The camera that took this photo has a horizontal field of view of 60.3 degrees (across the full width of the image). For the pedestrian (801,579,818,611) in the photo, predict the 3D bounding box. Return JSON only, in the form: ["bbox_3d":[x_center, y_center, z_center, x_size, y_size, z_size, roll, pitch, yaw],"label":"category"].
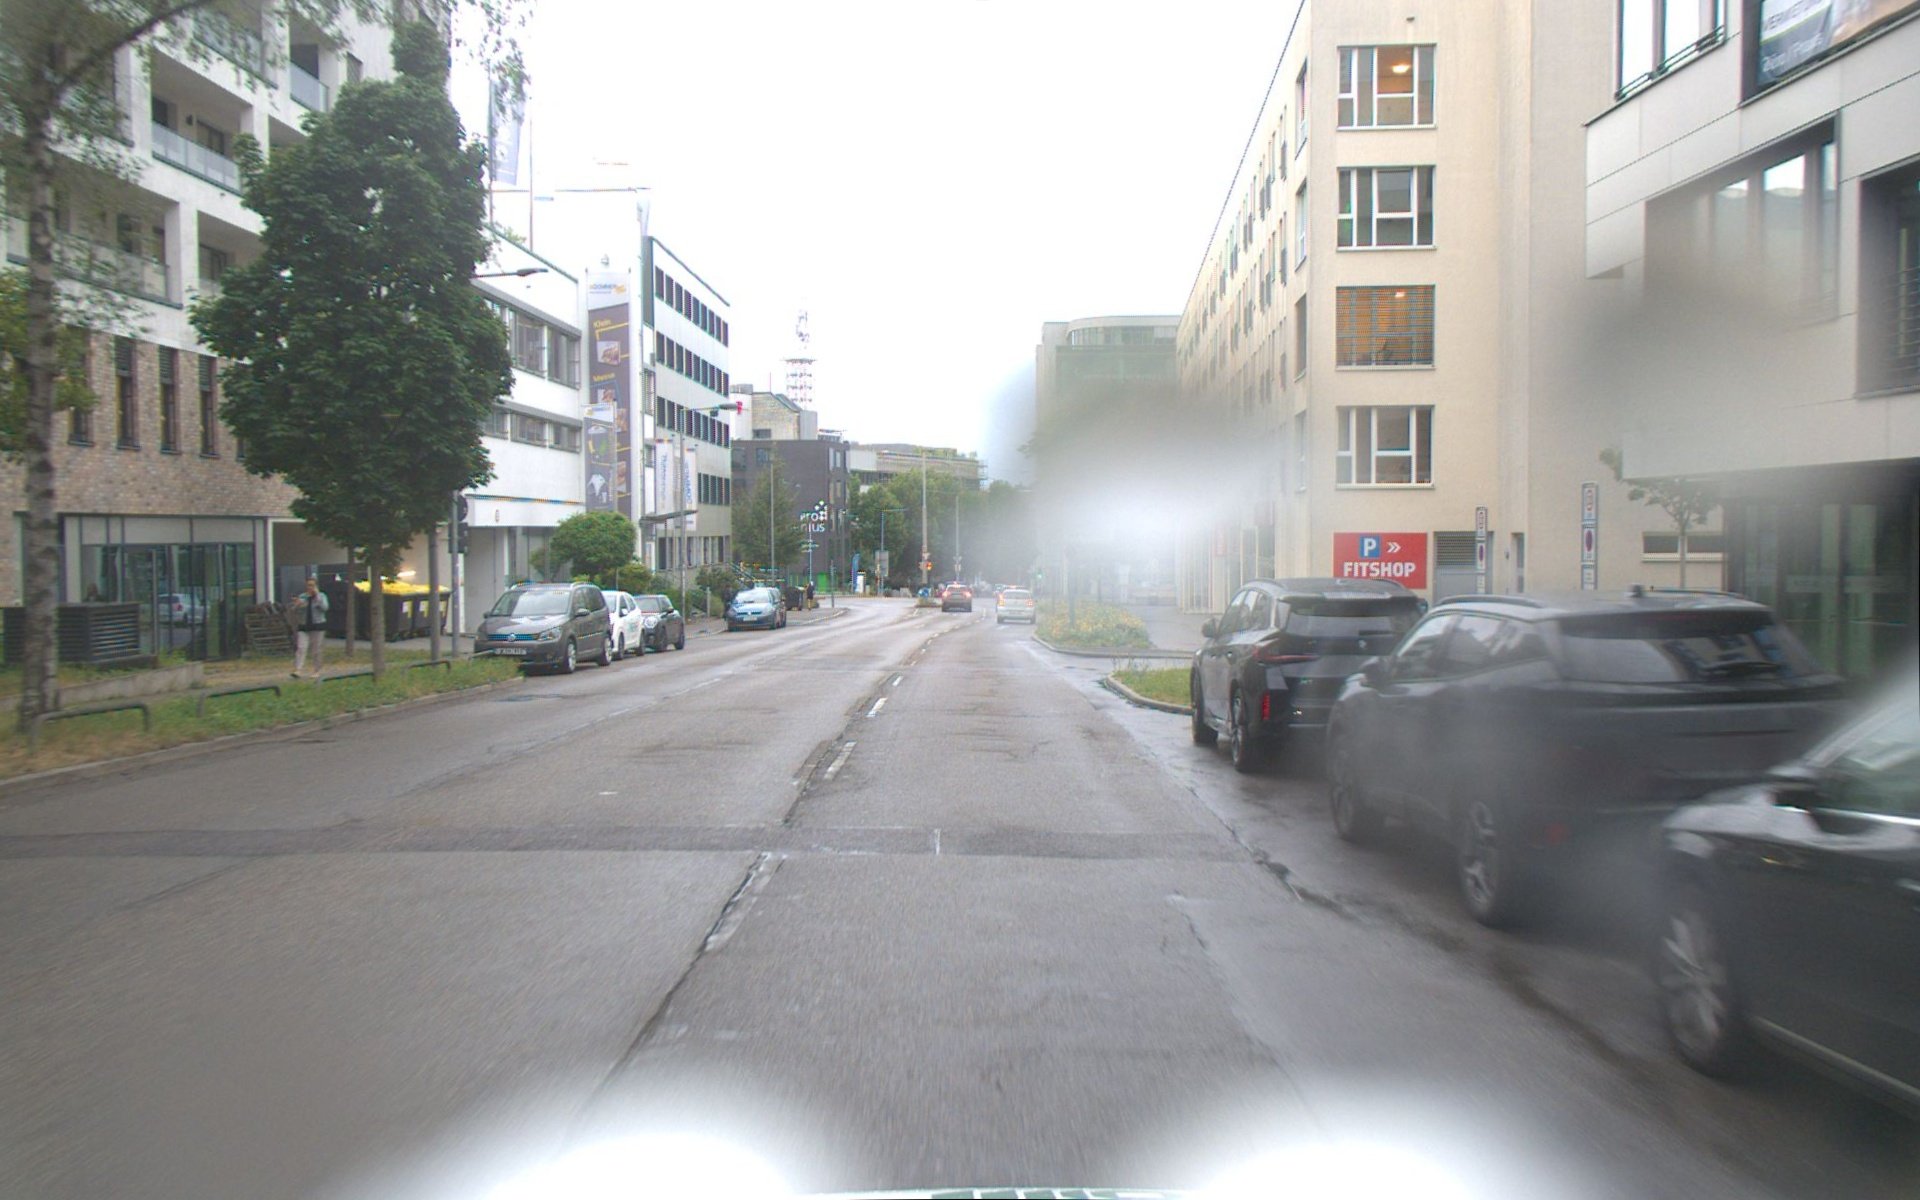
[{"bbox_3d":[-9.410,-0.334,103.498,0.942,1.989,0.776,0,-1,-12],"label":"pedestrian"}]

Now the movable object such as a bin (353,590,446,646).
[{"bbox_3d":[-14.821,0.471,43.794,2.013,1.448,1.316,1,0,-3],"label":"movable object such as a bin"}]

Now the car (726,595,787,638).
[{"bbox_3d":[-7.506,0.615,61.319,1.875,1.507,4.354,0,-1,-2],"label":"car"}]

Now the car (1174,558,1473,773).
[{"bbox_3d":[3.209,0.498,15.585,1.770,1.708,4.712,0,1,0],"label":"car"}]

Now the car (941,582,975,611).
[{"bbox_3d":[-0.098,-0.188,102.658,2.097,1.758,4.000,0,-1,0],"label":"car"}]

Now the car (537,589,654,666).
[{"bbox_3d":[-8.083,0.568,36.987,1.737,1.628,4.031,0,0,0],"label":"car"}]

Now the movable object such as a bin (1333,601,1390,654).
[{"bbox_3d":[10.402,0.719,42.918,1.209,1.343,1.192,-1,-1,2],"label":"movable object such as a bin"}]

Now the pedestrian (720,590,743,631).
[{"bbox_3d":[-9.720,0.455,70.214,0.719,1.738,0.896,0,-2,-27],"label":"pedestrian"}]

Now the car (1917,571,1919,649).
[{"bbox_3d":[19.244,0.156,28.887,3.904,1.644,1.895,3,0,3],"label":"car"}]

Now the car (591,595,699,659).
[{"bbox_3d":[-7.877,0.676,41.716,1.759,1.543,4.246,0,-1,2],"label":"car"}]

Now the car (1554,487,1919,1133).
[{"bbox_3d":[3.252,0.521,4.166,1.770,1.591,4.846,0,-1,0],"label":"car"}]

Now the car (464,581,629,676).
[{"bbox_3d":[-7.811,0.499,31.737,2.035,1.637,4.684,-1,0,-1],"label":"car"}]

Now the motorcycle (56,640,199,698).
[{"bbox_3d":[-12.434,1.016,24.705,1.961,0.822,0.718,0,0,18],"label":"motorcycle"}]

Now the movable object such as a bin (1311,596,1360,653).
[{"bbox_3d":[10.268,0.657,45.238,1.149,1.529,1.014,0,0,3],"label":"movable object such as a bin"}]

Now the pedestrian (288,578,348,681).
[{"bbox_3d":[-10.866,0.491,28.012,0.694,1.712,0.956,0,0,-4],"label":"pedestrian"}]

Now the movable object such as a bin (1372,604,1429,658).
[{"bbox_3d":[11.682,0.811,43.892,1.234,1.427,1.112,0,0,2],"label":"movable object such as a bin"}]

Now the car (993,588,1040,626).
[{"bbox_3d":[2.449,0.292,72.504,1.952,1.604,3.996,0,0,0],"label":"car"}]

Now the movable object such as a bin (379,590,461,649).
[{"bbox_3d":[-14.755,0.520,45.287,1.760,1.536,1.481,-2,0,-3],"label":"movable object such as a bin"}]

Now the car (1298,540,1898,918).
[{"bbox_3d":[3.222,0.590,9.379,1.713,1.633,4.373,0,-1,0],"label":"car"}]

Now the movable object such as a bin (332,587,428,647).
[{"bbox_3d":[-14.851,0.436,42.401,1.986,1.455,1.289,2,0,-3],"label":"movable object such as a bin"}]

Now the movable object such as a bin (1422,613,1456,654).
[{"bbox_3d":[12.692,0.883,43.856,0.684,1.045,0.853,0,0,2],"label":"movable object such as a bin"}]
